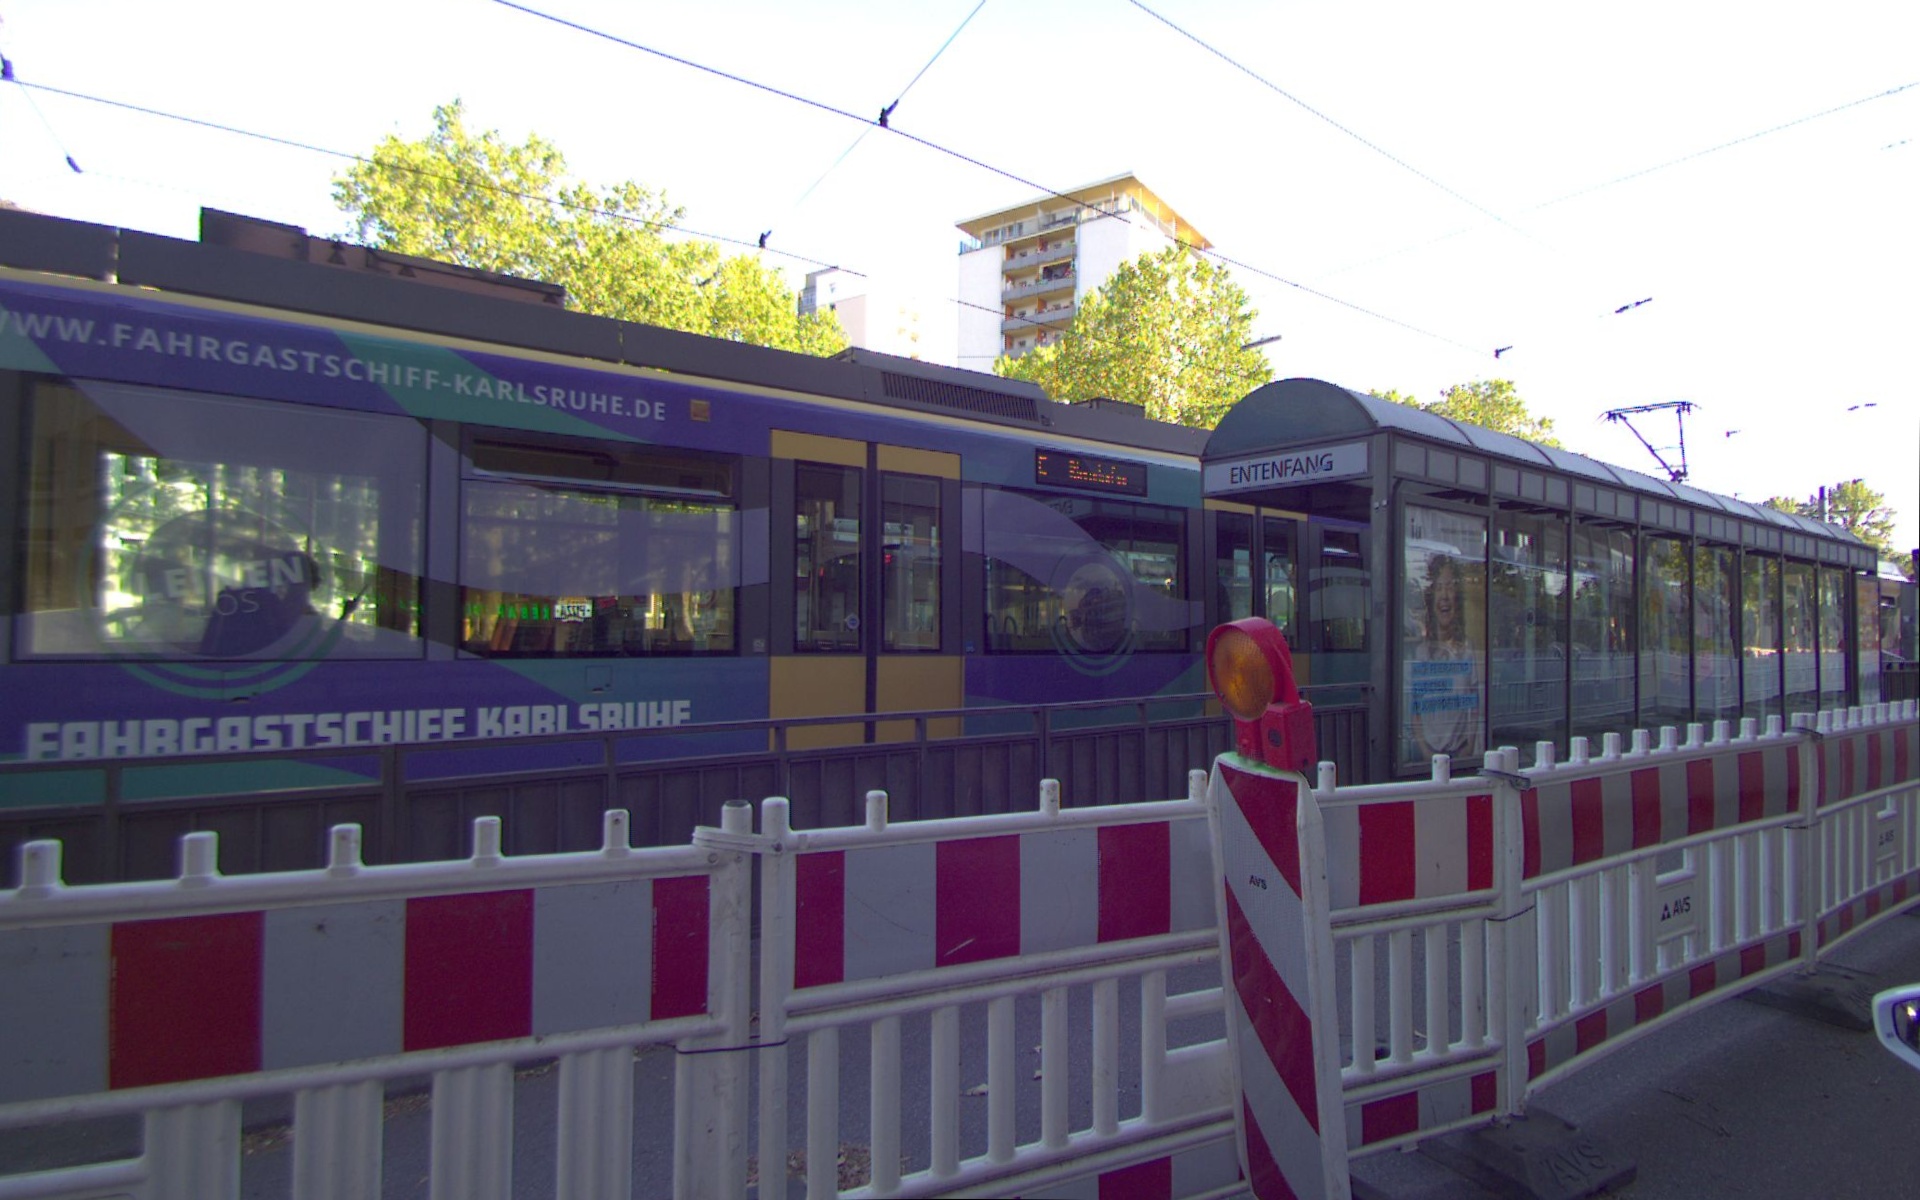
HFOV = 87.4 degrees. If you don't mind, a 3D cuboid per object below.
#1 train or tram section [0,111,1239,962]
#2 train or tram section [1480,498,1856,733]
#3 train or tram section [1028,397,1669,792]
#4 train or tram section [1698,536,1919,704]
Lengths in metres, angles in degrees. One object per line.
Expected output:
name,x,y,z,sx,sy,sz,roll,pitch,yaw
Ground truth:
train or tram section,-2.433,-0.174,7.097,10.241,3.533,2.815,2,-1,-37
train or tram section,13.940,0.379,19.271,10.240,3.533,2.816,2,-1,-36
train or tram section,5.720,0.096,13.202,10.241,3.533,2.851,2,-1,-37
train or tram section,22.120,0.570,25.396,10.243,3.533,2.796,2,-1,-37
